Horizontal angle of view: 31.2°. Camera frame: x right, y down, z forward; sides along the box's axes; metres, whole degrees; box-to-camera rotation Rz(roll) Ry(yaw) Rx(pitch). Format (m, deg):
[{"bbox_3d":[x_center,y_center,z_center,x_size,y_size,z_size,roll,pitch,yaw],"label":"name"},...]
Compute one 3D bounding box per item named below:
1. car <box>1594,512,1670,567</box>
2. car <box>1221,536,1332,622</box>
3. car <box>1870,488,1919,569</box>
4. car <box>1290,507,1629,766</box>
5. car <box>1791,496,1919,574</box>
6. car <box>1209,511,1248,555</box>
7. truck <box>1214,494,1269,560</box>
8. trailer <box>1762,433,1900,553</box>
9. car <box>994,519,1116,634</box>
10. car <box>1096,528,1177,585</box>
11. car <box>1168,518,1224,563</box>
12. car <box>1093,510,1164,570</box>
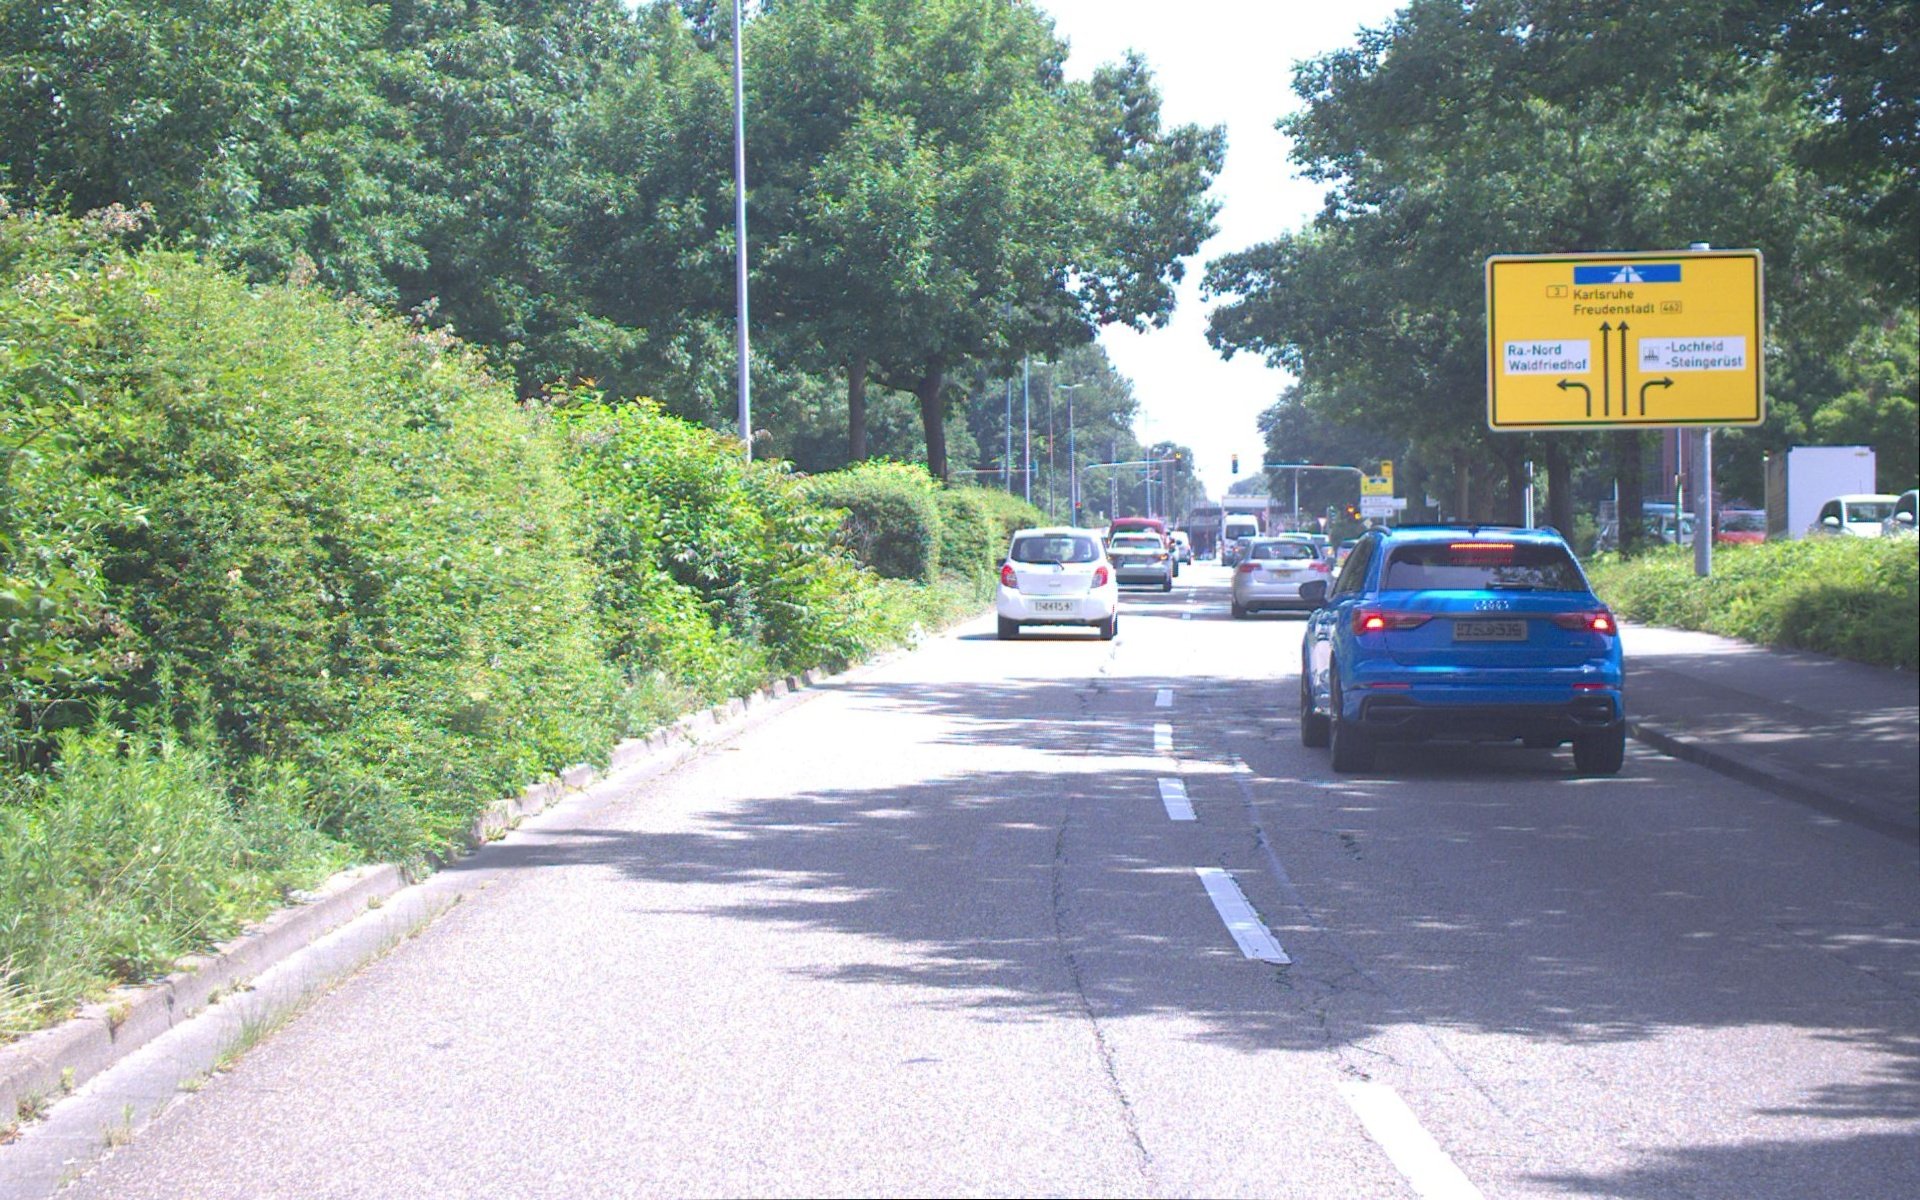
[{"bbox_3d":[17.841,-1.595,91.388,1.701,1.420,4.652,0,0,8],"label":"car"},{"bbox_3d":[5.573,-0.382,60.843,1.866,1.468,3.999,0,0,4],"label":"car"},{"bbox_3d":[14.521,-1.031,50.409,1.593,1.154,3.737,0,0,4],"label":"car"},{"bbox_3d":[3.271,0.204,23.275,1.809,1.587,4.349,0,0,2],"label":"car"},{"bbox_3d":[14.867,-1.057,56.653,1.619,1.248,3.630,0,0,3],"label":"car"},{"bbox_3d":[14.029,-3.496,179.720,1.994,2.248,4.000,-1,1,4],"label":"car"},{"bbox_3d":[15.545,-4.035,190.101,2.932,3.490,9.157,-1,1,4],"label":"truck"},{"bbox_3d":[15.589,-1.904,61.745,1.701,2.048,5.482,0,1,7],"label":"trailer"},{"bbox_3d":[1.304,-0.331,48.173,1.638,1.547,3.325,0,0,0],"label":"car"},{"bbox_3d":[4.342,-1.054,84.124,1.885,1.349,3.999,0,0,5],"label":"car"},{"bbox_3d":[7.474,-1.878,108.940,1.487,1.387,3.307,0,0,-1],"label":"car"},{"bbox_3d":[4.770,-1.690,96.967,1.885,1.603,4.000,-1,1,4],"label":"car"}]
